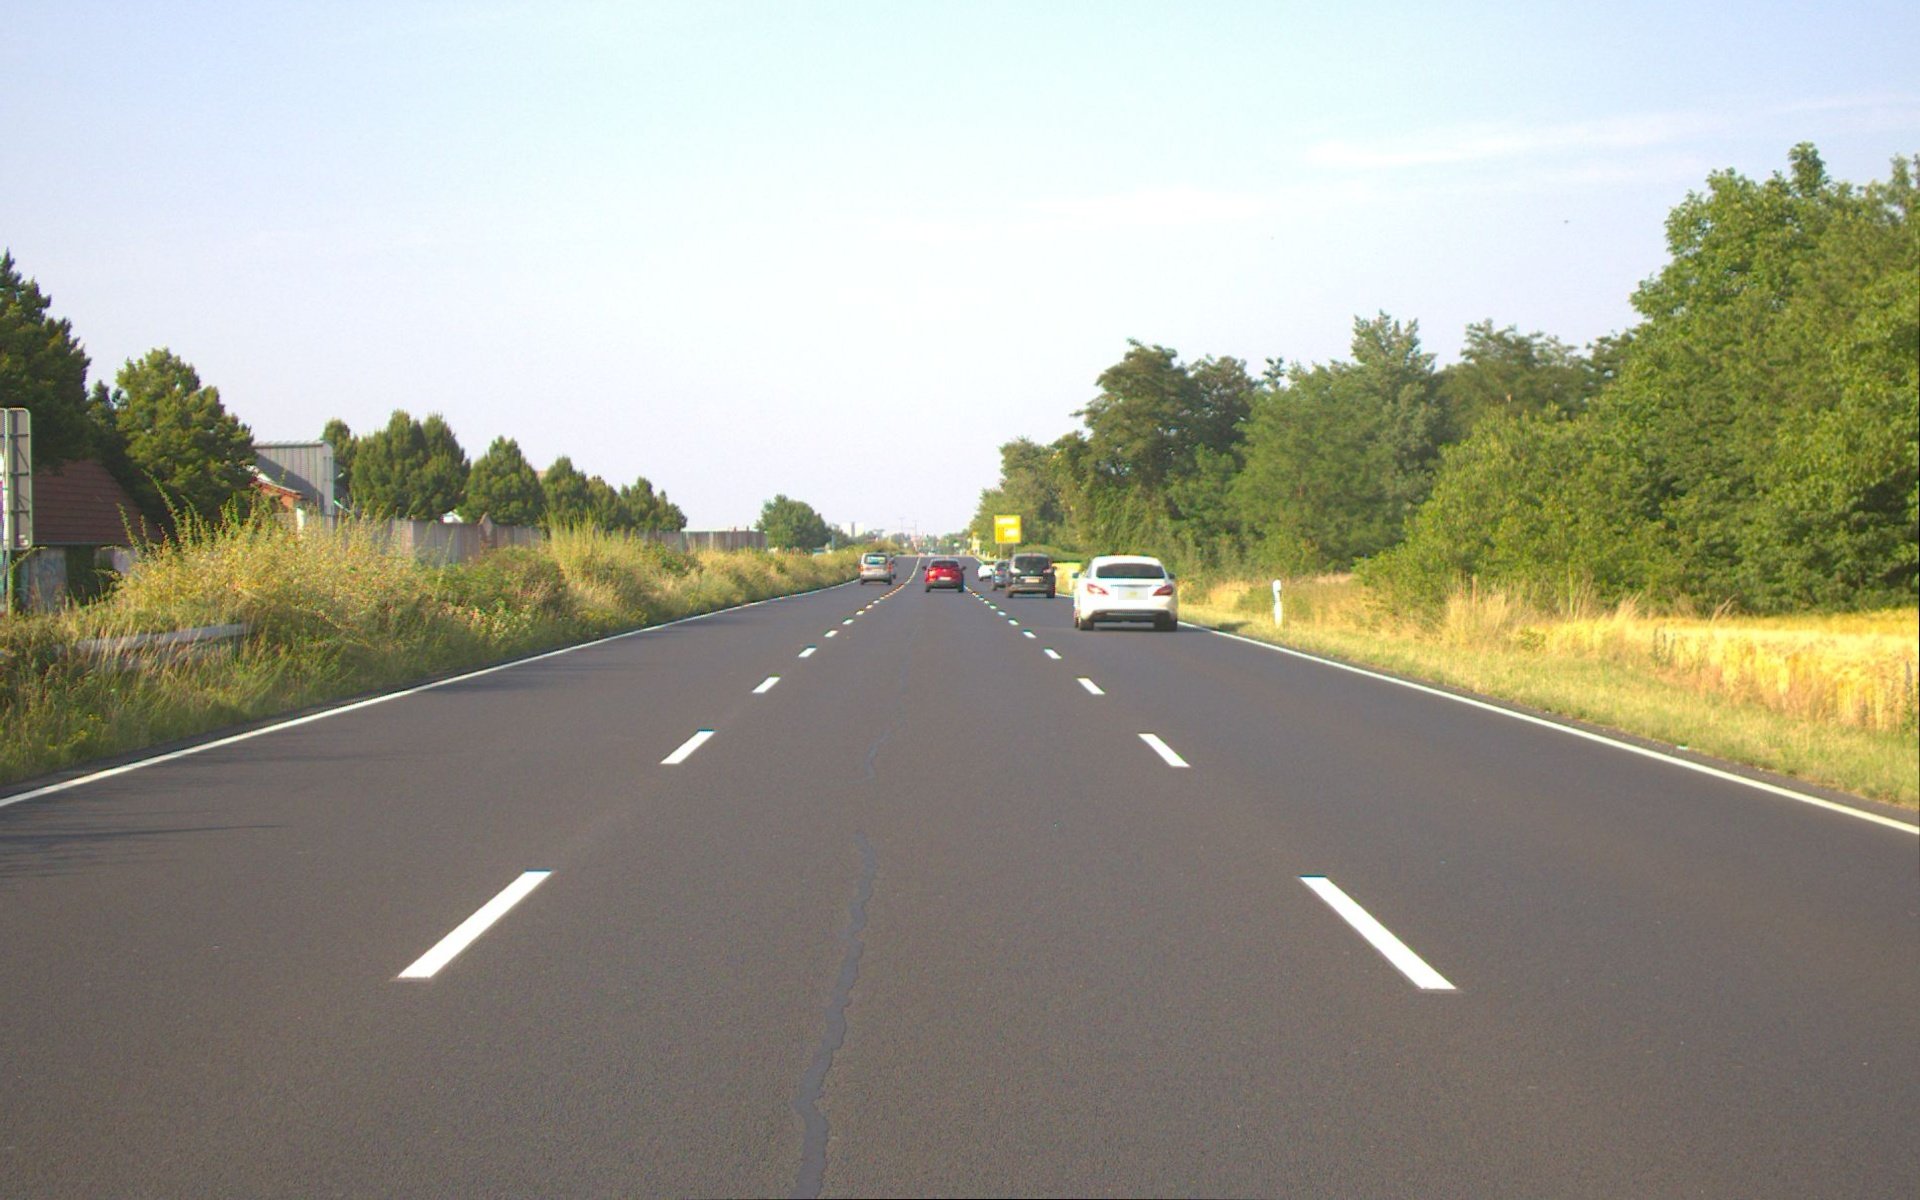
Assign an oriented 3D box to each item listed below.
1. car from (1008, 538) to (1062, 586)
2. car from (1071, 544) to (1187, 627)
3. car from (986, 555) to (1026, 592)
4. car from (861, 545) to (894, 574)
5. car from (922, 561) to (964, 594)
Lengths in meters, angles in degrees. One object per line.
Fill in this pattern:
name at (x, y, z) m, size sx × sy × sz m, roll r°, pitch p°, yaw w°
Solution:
car at (2.777, -1.400, 127.550) m, size 1.828 × 1.722 × 4.000 m, roll 1°, pitch 0°, yaw -1°
car at (3.225, -0.272, 66.335) m, size 1.993 × 1.511 × 4.000 m, roll 1°, pitch 0°, yaw -1°
car at (2.235, -1.274, 167.321) m, size 1.834 × 1.711 × 3.862 m, roll 1°, pitch 0°, yaw 0°
car at (-4.843, -2.367, 202.796) m, size 1.758 × 1.612 × 4.000 m, roll 1°, pitch 0°, yaw 1°
car at (-0.794, -1.002, 155.650) m, size 1.812 × 1.431 × 3.858 m, roll 1°, pitch 0°, yaw -1°
